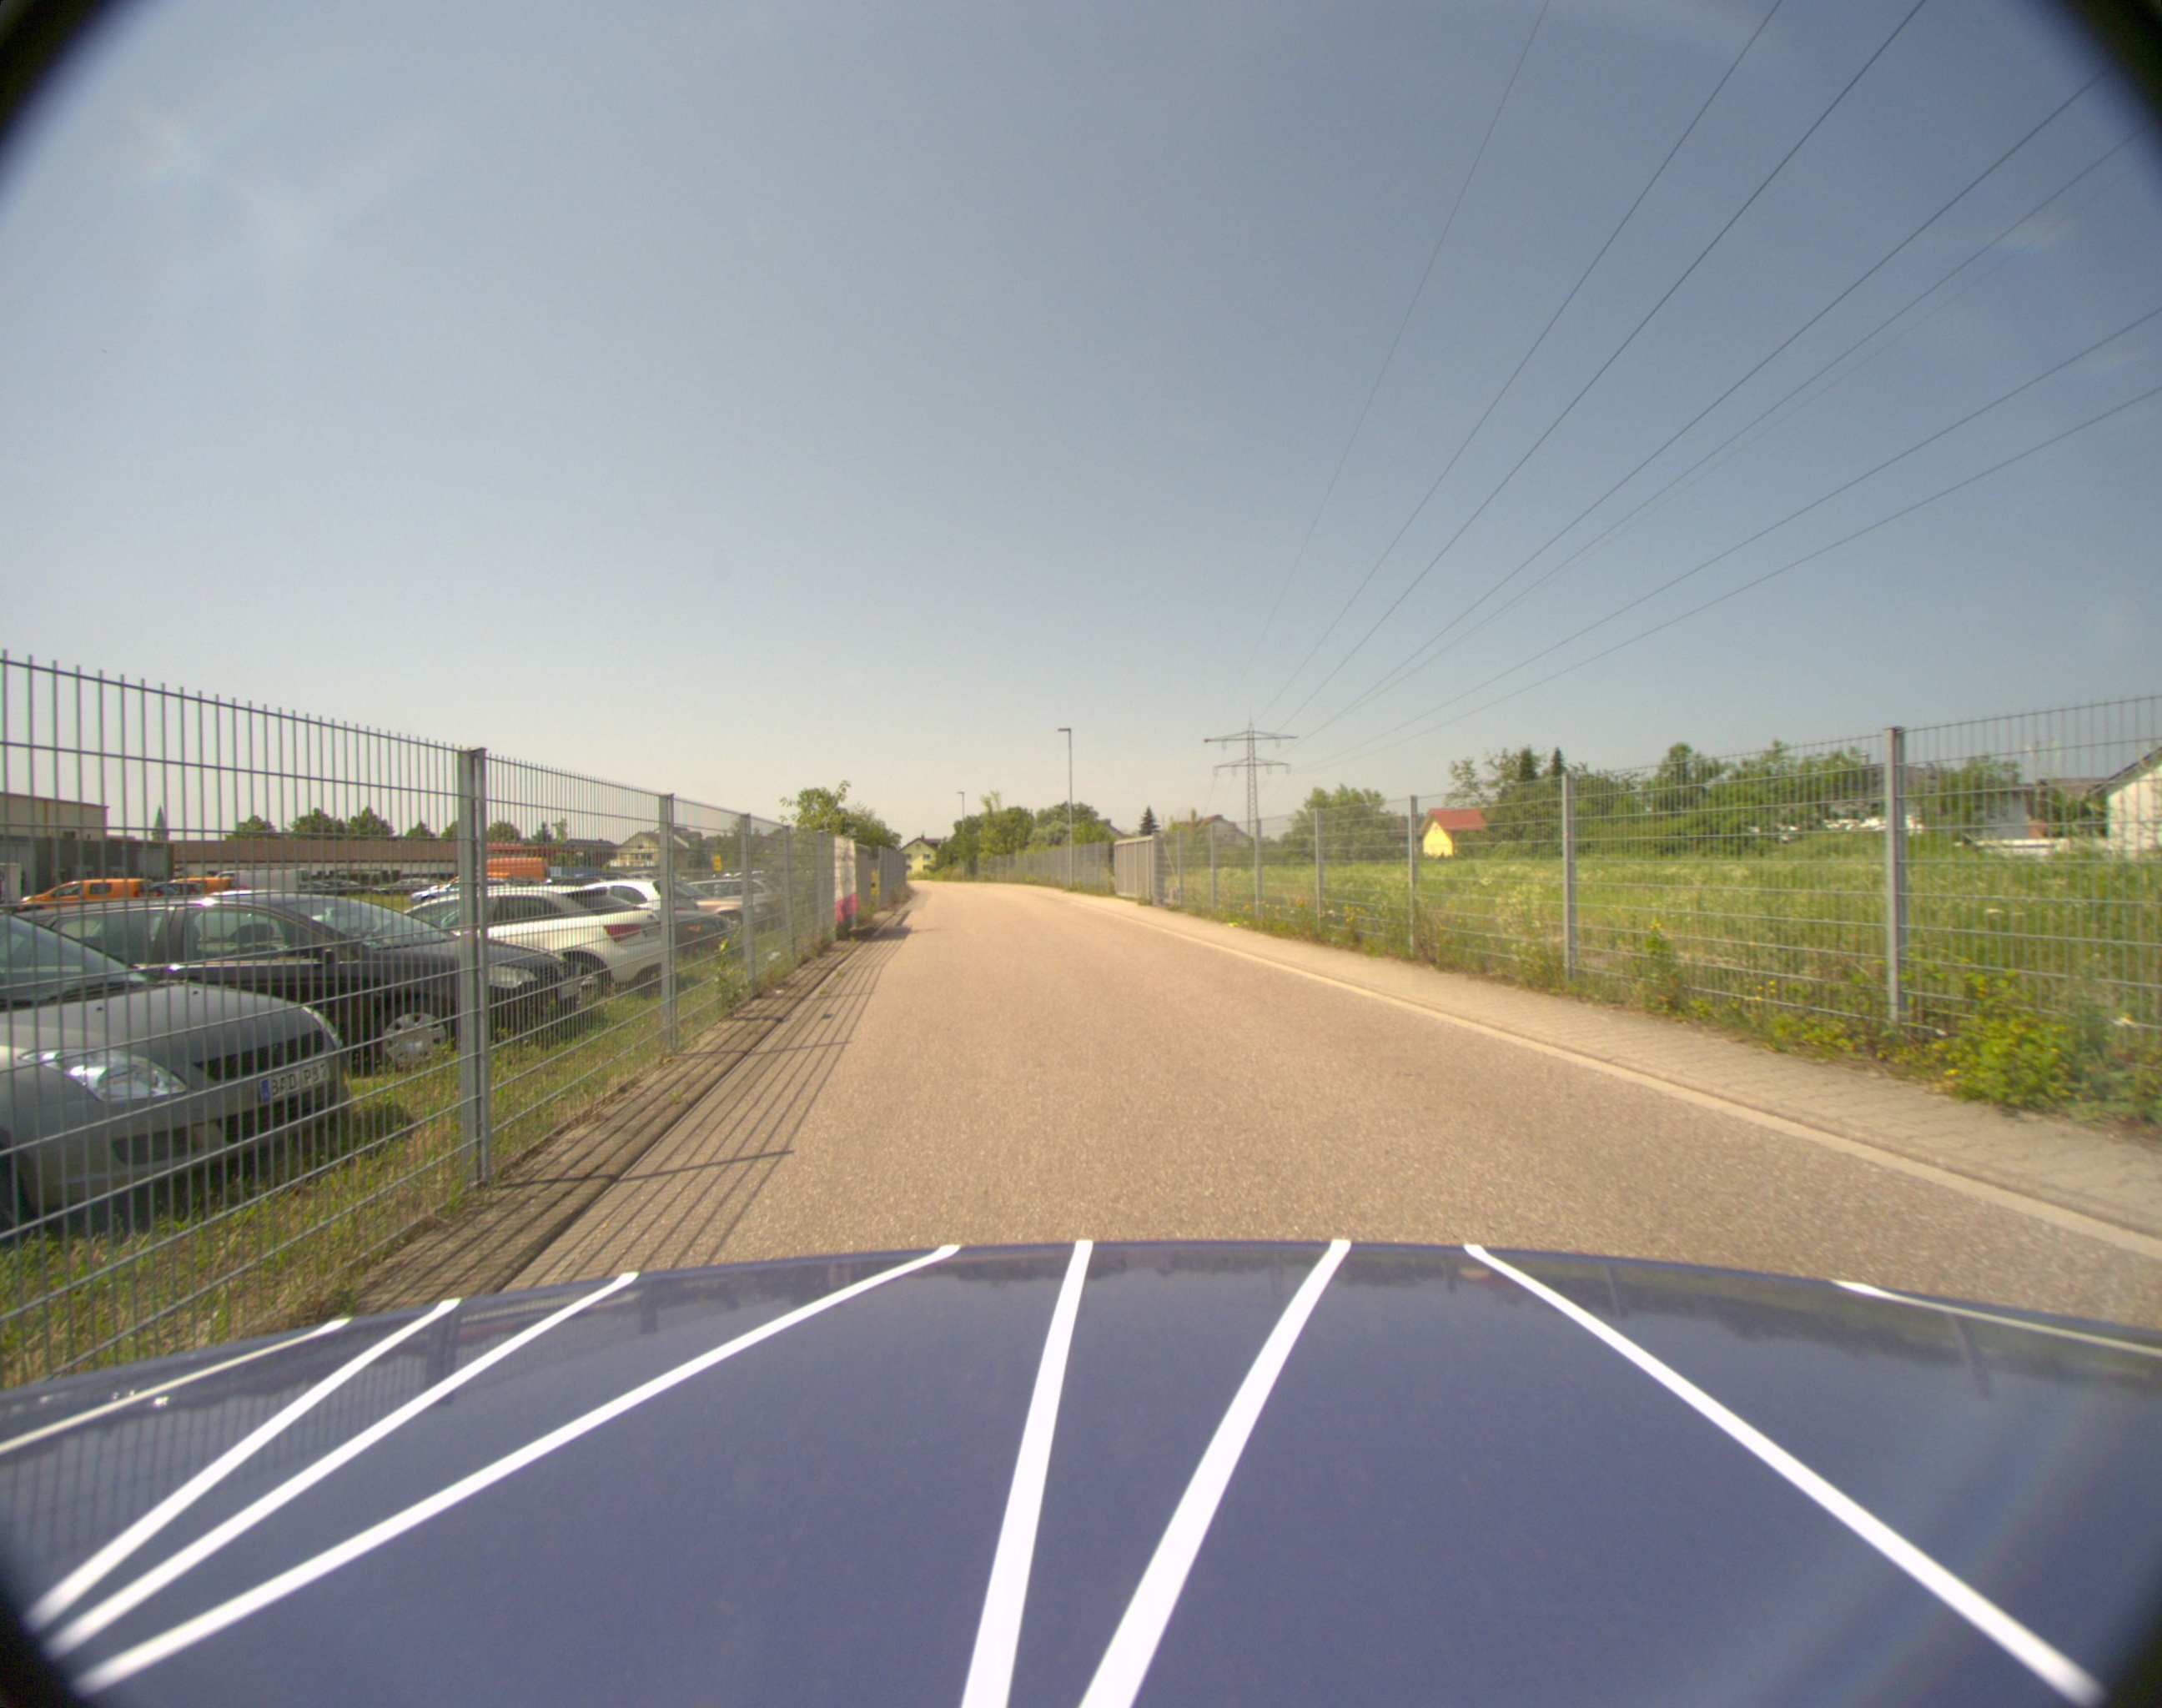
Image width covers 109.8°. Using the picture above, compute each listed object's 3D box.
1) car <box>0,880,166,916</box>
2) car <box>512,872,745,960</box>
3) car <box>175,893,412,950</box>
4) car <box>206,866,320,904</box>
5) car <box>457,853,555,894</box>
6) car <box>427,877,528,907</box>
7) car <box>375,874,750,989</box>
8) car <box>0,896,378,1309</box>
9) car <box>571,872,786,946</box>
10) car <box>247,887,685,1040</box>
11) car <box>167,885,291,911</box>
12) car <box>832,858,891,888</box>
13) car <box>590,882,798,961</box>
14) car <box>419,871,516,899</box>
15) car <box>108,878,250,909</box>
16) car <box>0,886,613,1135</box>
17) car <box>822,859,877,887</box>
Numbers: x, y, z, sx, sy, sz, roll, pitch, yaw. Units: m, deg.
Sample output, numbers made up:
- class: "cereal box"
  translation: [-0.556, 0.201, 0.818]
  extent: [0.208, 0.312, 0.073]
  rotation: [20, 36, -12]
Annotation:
- class: "car"
  translation: [-44.766, 1.928, 34.098]
  extent: [4.396, 1.476, 1.749]
  rotation: [0, -1, -28]
- class: "car"
  translation: [-8.026, 1.061, 13.776]
  extent: [3.279, 1.346, 1.526]
  rotation: [-1, 0, -14]
- class: "car"
  translation: [-22.859, 1.919, 22.309]
  extent: [4.529, 1.343, 1.623]
  rotation: [-1, 0, -24]
- class: "car"
  translation: [-50.365, 1.878, 46.917]
  extent: [4.396, 2.158, 1.970]
  rotation: [0, -1, -28]
- class: "car"
  translation: [-37.064, 1.221, 49.168]
  extent: [4.753, 2.569, 1.977]
  rotation: [0, -1, -25]
- class: "car"
  translation: [-31.265, 1.953, 39.462]
  extent: [3.834, 1.453, 1.586]
  rotation: [0, -1, -25]
- class: "car"
  translation: [-7.346, 1.051, 11.231]
  extent: [4.198, 1.346, 1.721]
  rotation: [-1, 0, -12]
- class: "car"
  translation: [-5.844, 1.028, 3.394]
  extent: [3.551, 1.493, 1.710]
  rotation: [-1, 0, -12]
- class: "car"
  translation: [-8.455, 1.122, 16.290]
  extent: [3.675, 1.346, 1.739]
  rotation: [-1, 0, -11]
- class: "car"
  translation: [-6.747, 1.145, 8.751]
  extent: [3.536, 1.380, 1.635]
  rotation: [-1, 0, -12]
- class: "car"
  translation: [-49.336, 2.517, 44.135]
  extent: [4.396, 1.369, 1.838]
  rotation: [0, -1, -25]
- class: "car"
  translation: [-15.704, 1.362, 54.489]
  extent: [4.002, 2.002, 1.997]
  rotation: [-1, 0, -16]
- class: "car"
  translation: [-9.326, 1.582, 18.635]
  extent: [4.178, 1.465, 1.636]
  rotation: [-4, 1, -13]
- class: "car"
  translation: [-33.409, 1.663, 41.486]
  extent: [3.834, 1.453, 1.586]
  rotation: [0, -1, -25]
- class: "car"
  translation: [-47.650, 2.055, 40.285]
  extent: [4.396, 1.476, 1.970]
  rotation: [0, -1, -28]
- class: "car"
  translation: [-6.252, 1.114, 6.248]
  extent: [3.661, 1.469, 1.749]
  rotation: [-2, 2, -12]
- class: "car"
  translation: [-17.822, 1.434, 58.639]
  extent: [4.002, 2.002, 1.997]
  rotation: [-1, 0, -16]
